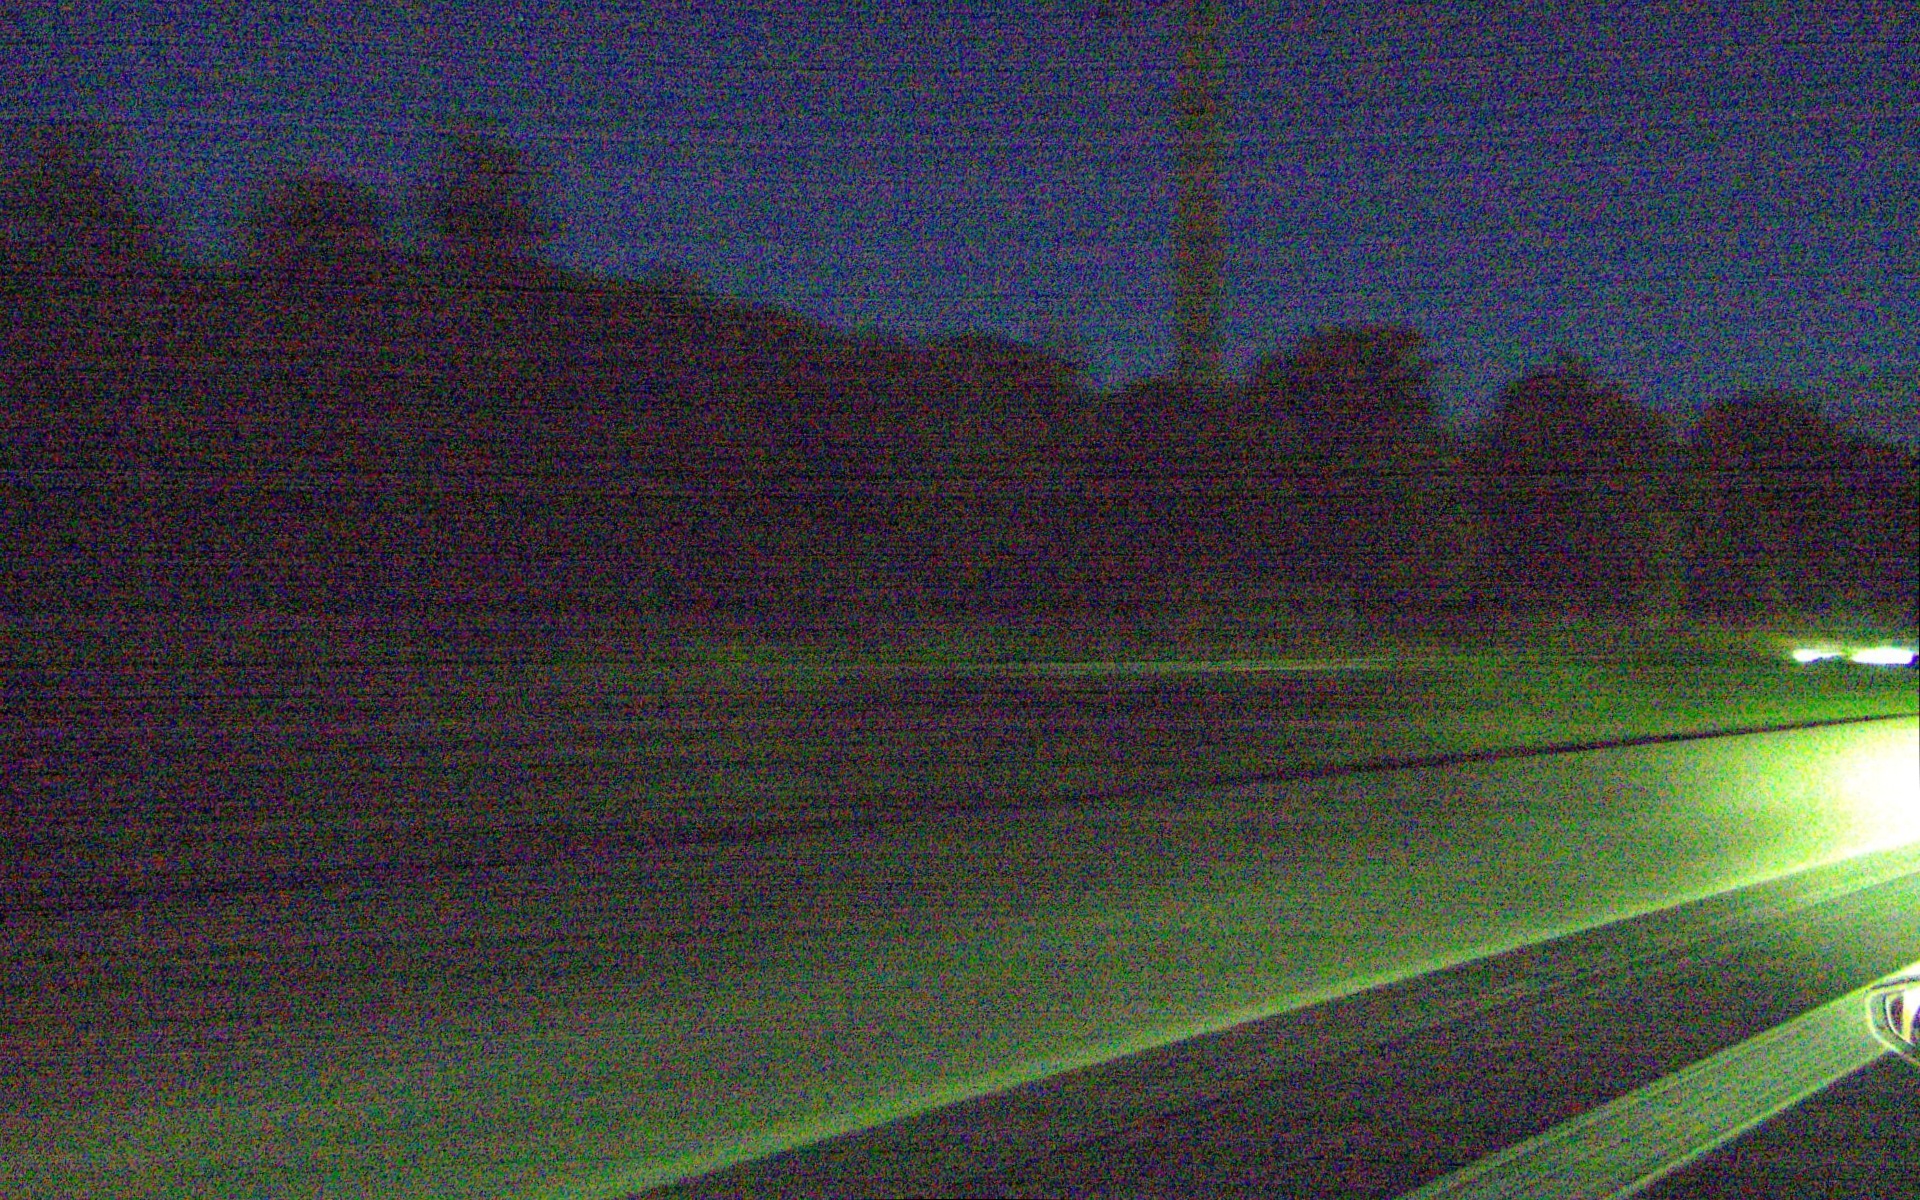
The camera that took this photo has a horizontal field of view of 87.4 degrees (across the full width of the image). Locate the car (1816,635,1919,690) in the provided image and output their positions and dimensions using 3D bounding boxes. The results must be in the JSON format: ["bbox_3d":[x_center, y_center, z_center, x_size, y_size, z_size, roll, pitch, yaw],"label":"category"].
[{"bbox_3d":[27.417,1.799,29.749,4.698,1.498,1.742,1,-3,-31],"label":"car"}]
